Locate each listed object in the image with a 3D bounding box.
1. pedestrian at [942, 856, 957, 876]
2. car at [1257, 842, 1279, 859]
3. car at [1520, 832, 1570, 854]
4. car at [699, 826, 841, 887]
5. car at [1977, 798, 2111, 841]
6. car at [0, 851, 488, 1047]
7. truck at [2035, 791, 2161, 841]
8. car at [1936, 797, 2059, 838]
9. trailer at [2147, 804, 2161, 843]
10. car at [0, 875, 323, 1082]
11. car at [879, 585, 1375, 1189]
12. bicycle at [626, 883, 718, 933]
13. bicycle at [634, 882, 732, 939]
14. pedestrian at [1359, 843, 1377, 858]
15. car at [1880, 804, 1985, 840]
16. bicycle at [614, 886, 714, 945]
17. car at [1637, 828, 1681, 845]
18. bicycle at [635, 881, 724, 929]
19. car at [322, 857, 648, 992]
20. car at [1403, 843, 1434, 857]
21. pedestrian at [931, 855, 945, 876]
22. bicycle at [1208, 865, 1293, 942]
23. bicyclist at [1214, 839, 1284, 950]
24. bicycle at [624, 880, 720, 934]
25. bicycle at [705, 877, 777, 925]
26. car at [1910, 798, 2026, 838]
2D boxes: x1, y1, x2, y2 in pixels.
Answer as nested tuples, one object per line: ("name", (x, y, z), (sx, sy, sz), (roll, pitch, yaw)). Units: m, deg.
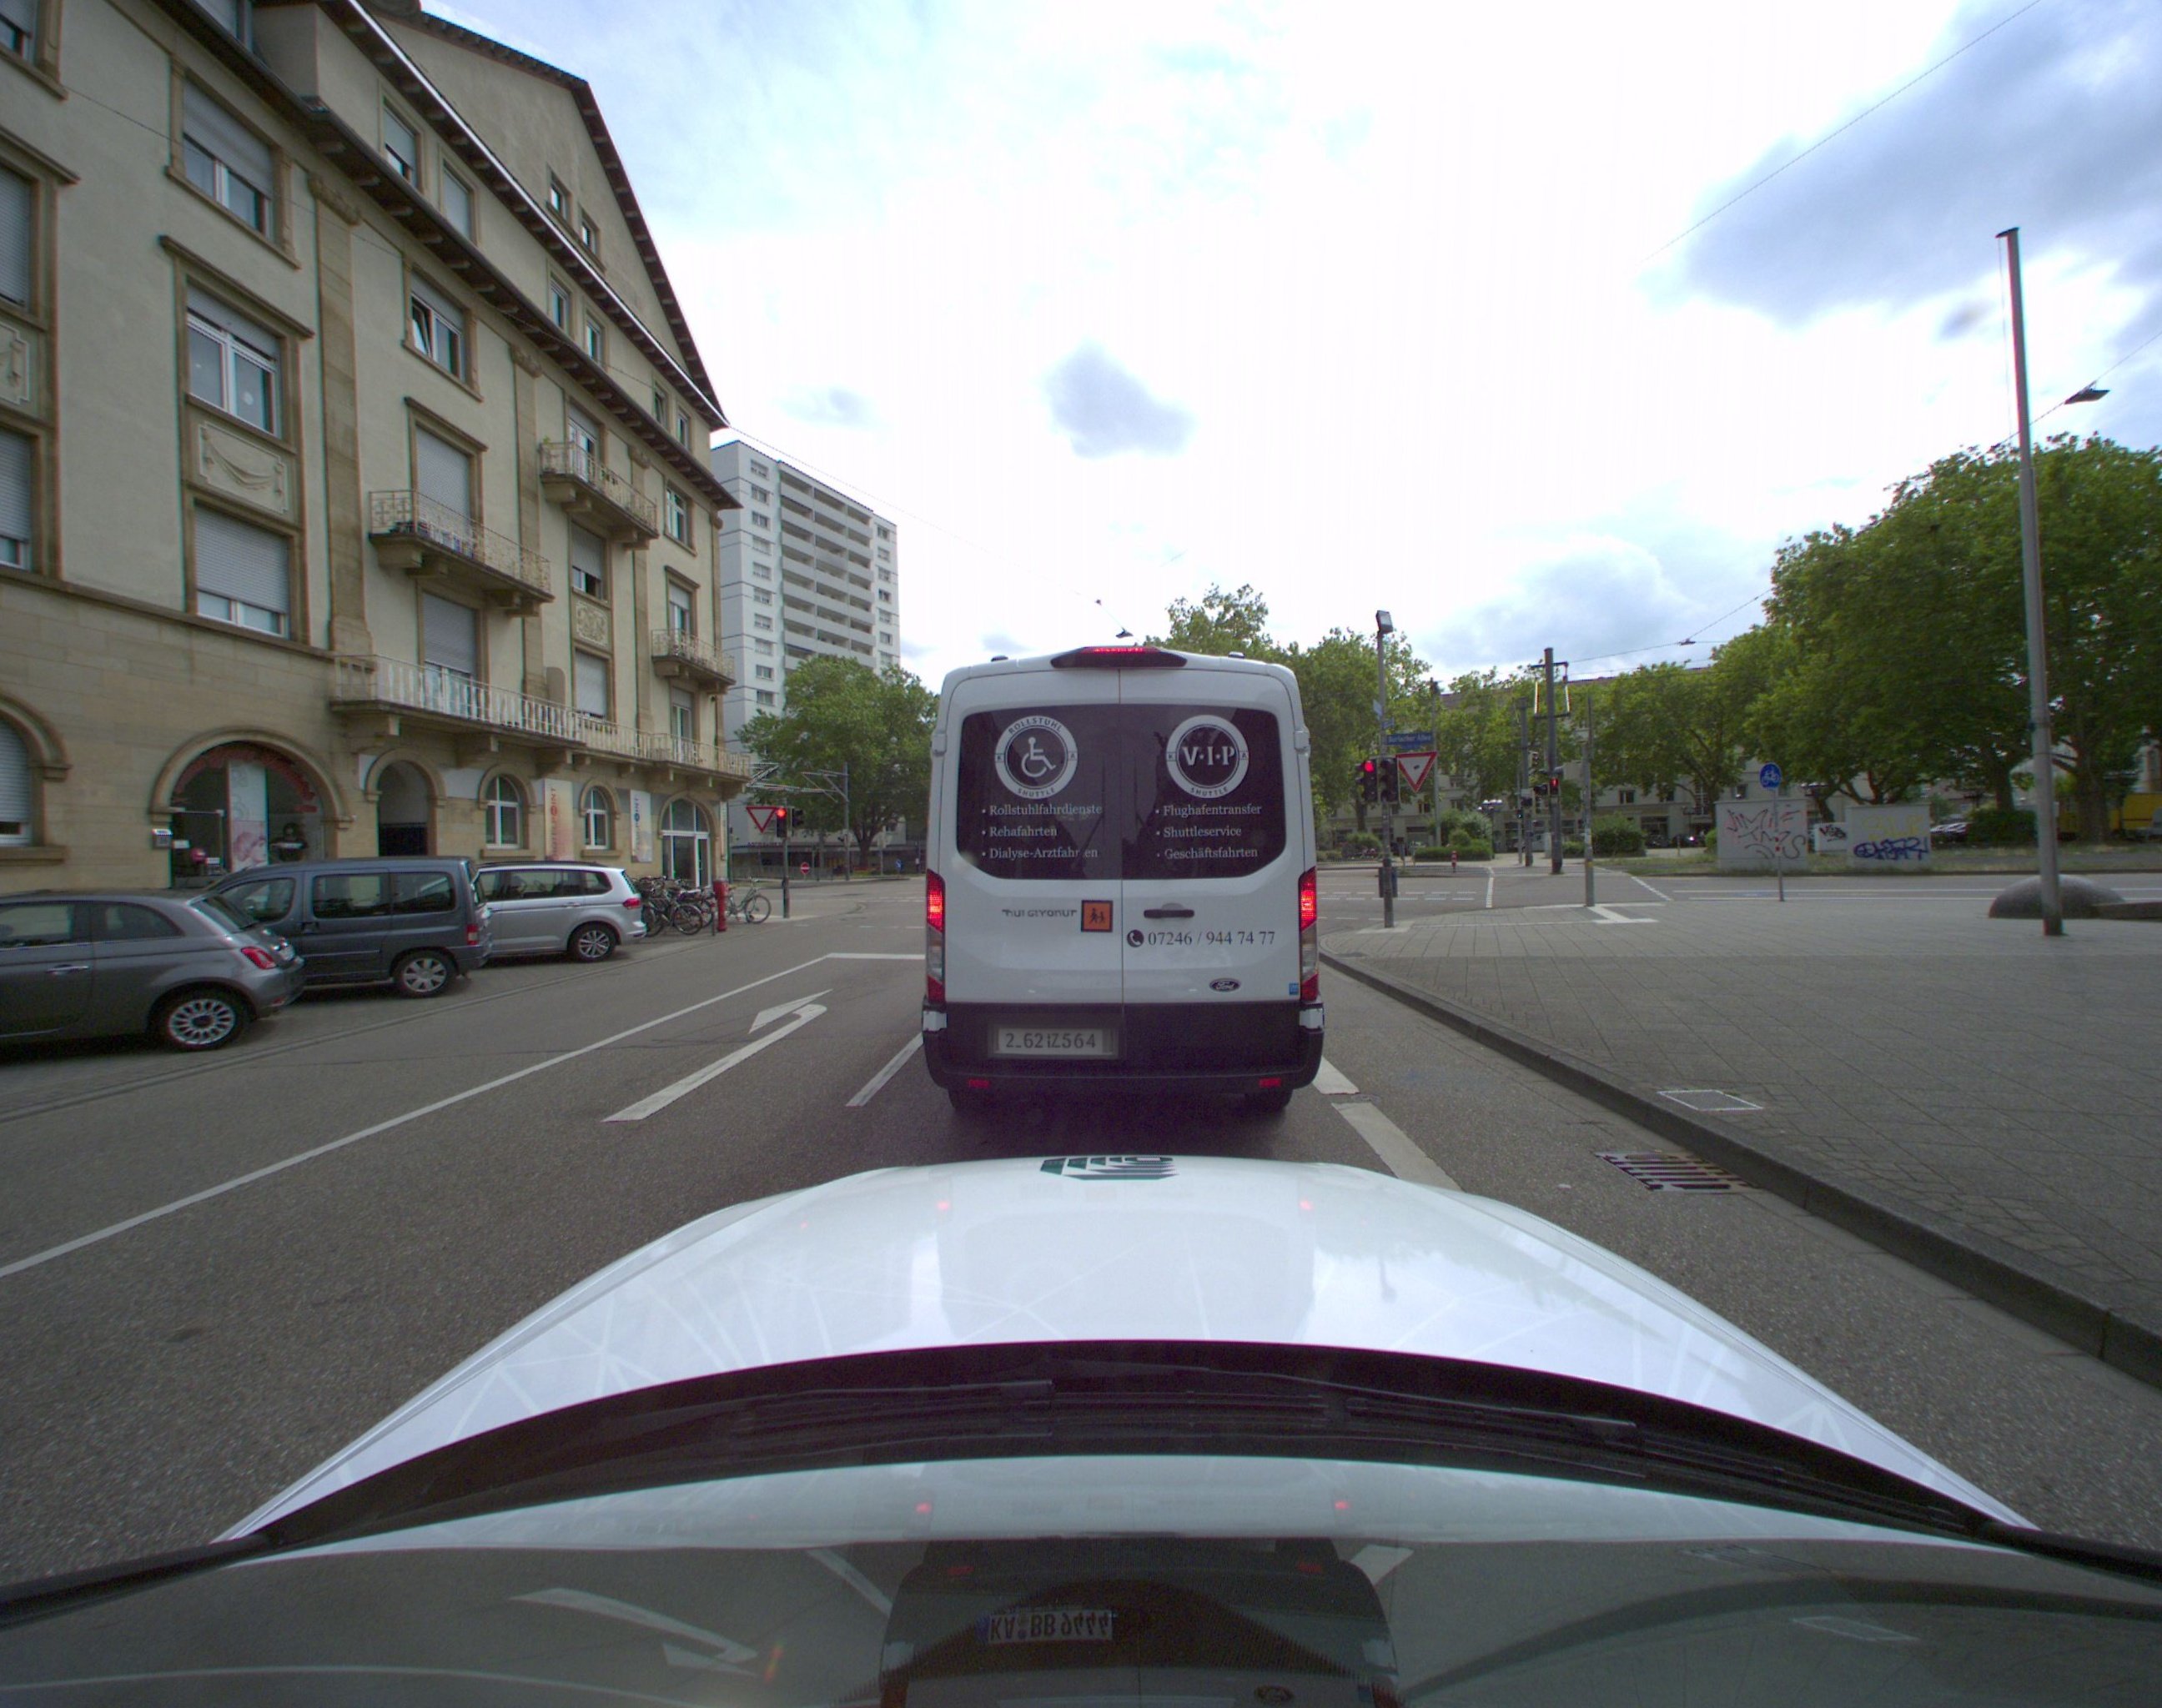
("pedestrian", (-10.276, 0.952, 63.547), (0.922, 1.514, 0.727), (-2, 0, 16))
("car", (21.702, -0.418, 94.762), (1.983, 1.930, 4.008), (-2, 0, 7))
("car", (44.232, -1.043, 77.686), (3.950, 1.883, 1.868), (-2, 0, 26))
("car", (-22.013, 0.220, 57.426), (9.792, 3.915, 3.476), (-2, 0, 26))
("car", (64.294, -2.260, 54.513), (5.271, 2.585, 2.192), (-2, -1, 24))
("car", (-9.884, 0.966, 10.088), (4.031, 1.878, 1.776), (-2, 0, -37))
("truck", (58.526, -2.128, 46.307), (3.042, 2.577, 6.549), (-2, 0, 25))
("car", (65.712, -2.594, 58.541), (5.271, 2.585, 2.512), (-2, -1, 24))
("trailer", (55.396, -1.583, 39.293), (4.381, 1.925, 1.865), (-2, 0, 26))
("car", (-9.818, 1.114, 7.433), (4.031, 1.651, 1.776), (-2, 0, -37))
("car", (0.237, 0.111, 5.903), (2.174, 2.647, 4.629), (0, 1, 0))
("bicycle", (-9.467, 1.247, 18.905), (1.807, 1.120, 0.593), (0, 0, -6))
("bicycle", (-8.558, 1.204, 17.533), (1.800, 1.120, 0.595), (2, 0, 5))
("pedestrian", (24.688, -0.278, 70.003), (1.086, 1.236, 1.443), (-4, -1, 6))
("car", (68.901, -2.516, 66.011), (5.271, 2.585, 2.512), (-2, -1, 24))
("bicycle", (-8.626, 1.269, 16.863), (1.799, 1.120, 0.595), (-2, 0, 8))
("car", (55.721, -1.657, 78.547), (1.757, 1.503, 4.008), (-2, 0, 7))
("bicycle", (-9.652, 1.222, 19.608), (1.807, 1.120, 0.593), (0, 0, -6))
("car", (-9.531, 1.003, 13.343), (4.031, 1.773, 1.776), (-2, 0, -37))
("car", (36.248, -0.433, 87.516), (1.983, 1.503, 4.008), (-2, 0, 7))
("pedestrian", (-11.191, 0.885, 63.650), (0.801, 1.572, 0.727), (-2, 0, 16))
("bicycle", (2.644, 0.741, 12.965), (0.900, 1.075, 1.969), (-2, 0, -1))
("bicyclist", (2.649, 0.617, 12.922), (0.901, 1.683, 0.756), (-2, 0, -1))
("bicycle", (-9.161, 1.186, 18.286), (1.807, 1.166, 0.593), (0, 0, -6))
("bicycle", (-8.651, 1.173, 20.702), (1.859, 1.167, 0.500), (0, 0, 22))
("car", (66.655, -2.659, 61.358), (5.271, 2.585, 2.512), (-2, -1, 24))
